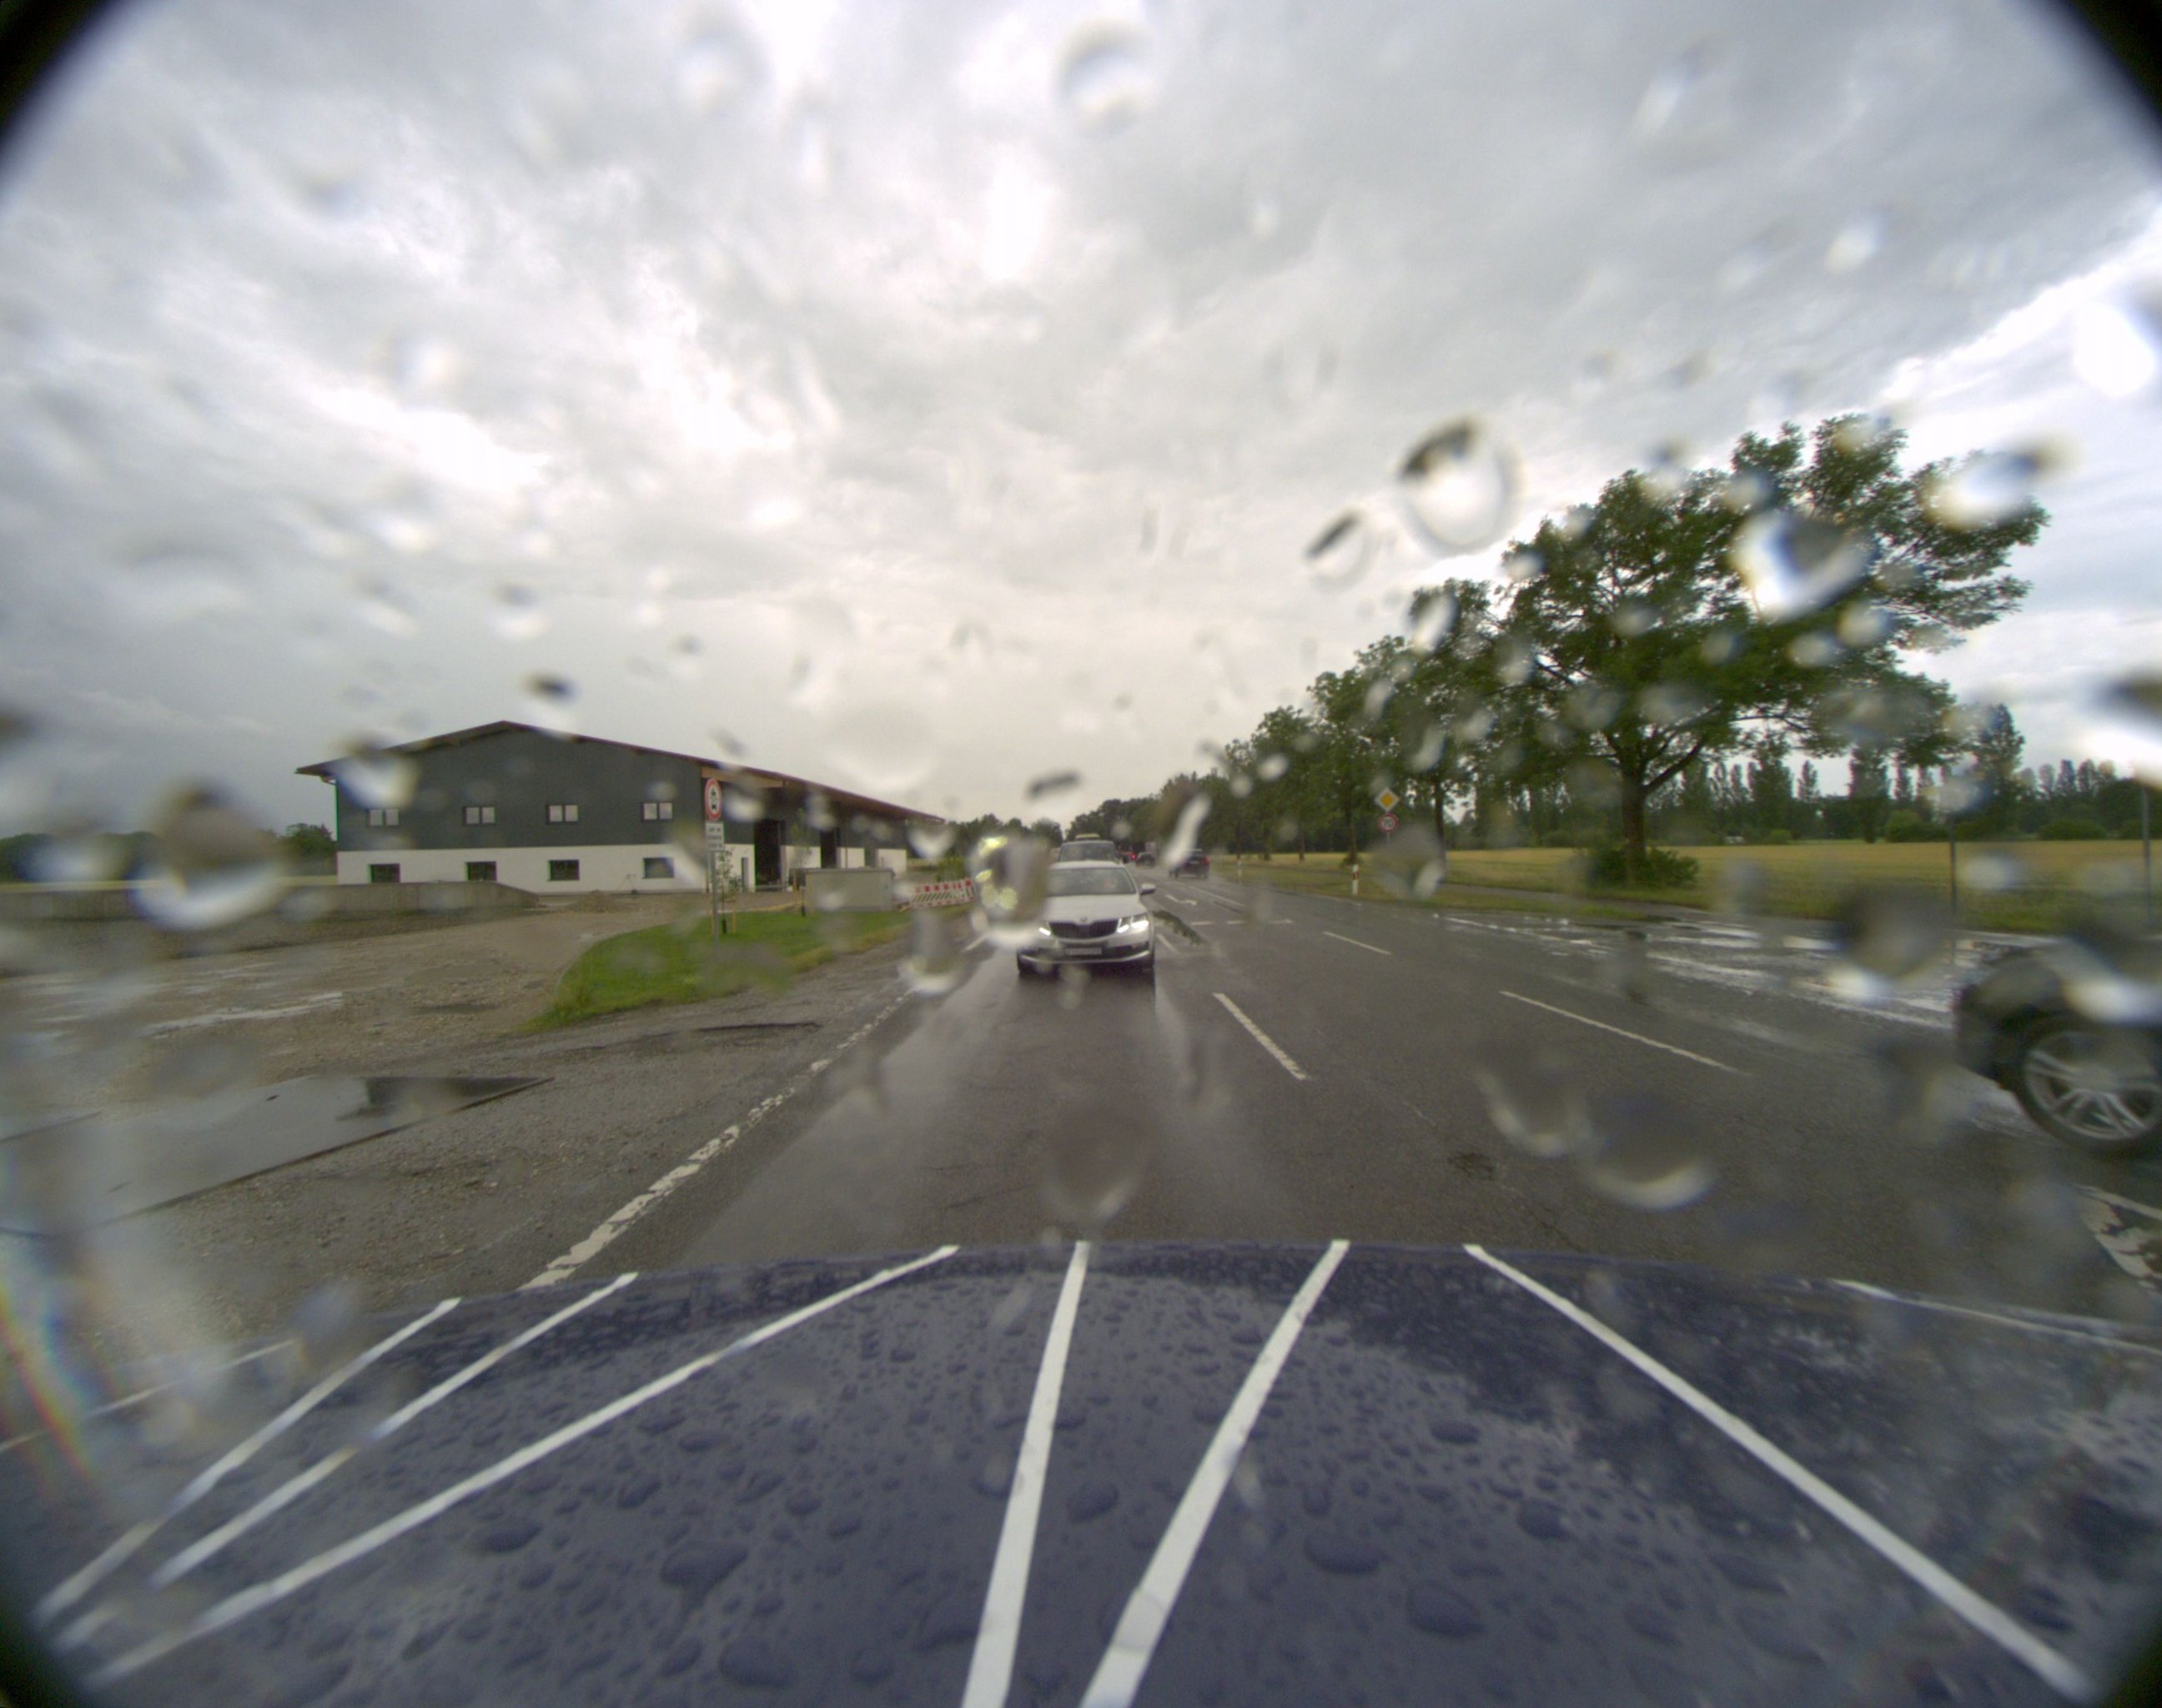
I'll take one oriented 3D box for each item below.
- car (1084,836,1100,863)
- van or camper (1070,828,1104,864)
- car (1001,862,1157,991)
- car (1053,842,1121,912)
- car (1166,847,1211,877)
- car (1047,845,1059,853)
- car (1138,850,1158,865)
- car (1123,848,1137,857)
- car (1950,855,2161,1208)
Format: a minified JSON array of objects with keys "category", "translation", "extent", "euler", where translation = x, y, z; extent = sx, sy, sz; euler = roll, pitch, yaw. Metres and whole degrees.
[{"category":"car","translation":[1.310,-0.566,92.761],"extent":[1.771,3.134,4.027],"euler":[-2,1,0]},{"category":"van or camper","translation":[0.695,-0.860,81.319],"extent":[3.342,3.624,8.372],"euler":[-1,1,1]},{"category":"car","translation":[0.015,0.861,11.073],"extent":[1.770,1.365,4.575],"euler":[-1,1,1]},{"category":"car","translation":[0.201,0.602,23.234],"extent":[1.841,1.888,4.575],"euler":[-1,1,1]},{"category":"car","translation":[6.095,0.426,43.596],"extent":[1.949,1.571,4.443],"euler":[-1,0,0]},{"category":"car","translation":[-7.656,-1.338,208.997],"extent":[2.002,2.002,3.992],"euler":[-2,0,-24]},{"category":"car","translation":[6.378,0.348,72.403],"extent":[1.716,1.397,3.814],"euler":[0,0,2]},{"category":"car","translation":[7.418,-0.239,115.823],"extent":[1.770,1.429,4.413],"euler":[-1,0,0]},{"category":"car","translation":[5.517,0.777,1.982],"extent":[1.773,1.514,4.141],"euler":[0,0,1]}]
